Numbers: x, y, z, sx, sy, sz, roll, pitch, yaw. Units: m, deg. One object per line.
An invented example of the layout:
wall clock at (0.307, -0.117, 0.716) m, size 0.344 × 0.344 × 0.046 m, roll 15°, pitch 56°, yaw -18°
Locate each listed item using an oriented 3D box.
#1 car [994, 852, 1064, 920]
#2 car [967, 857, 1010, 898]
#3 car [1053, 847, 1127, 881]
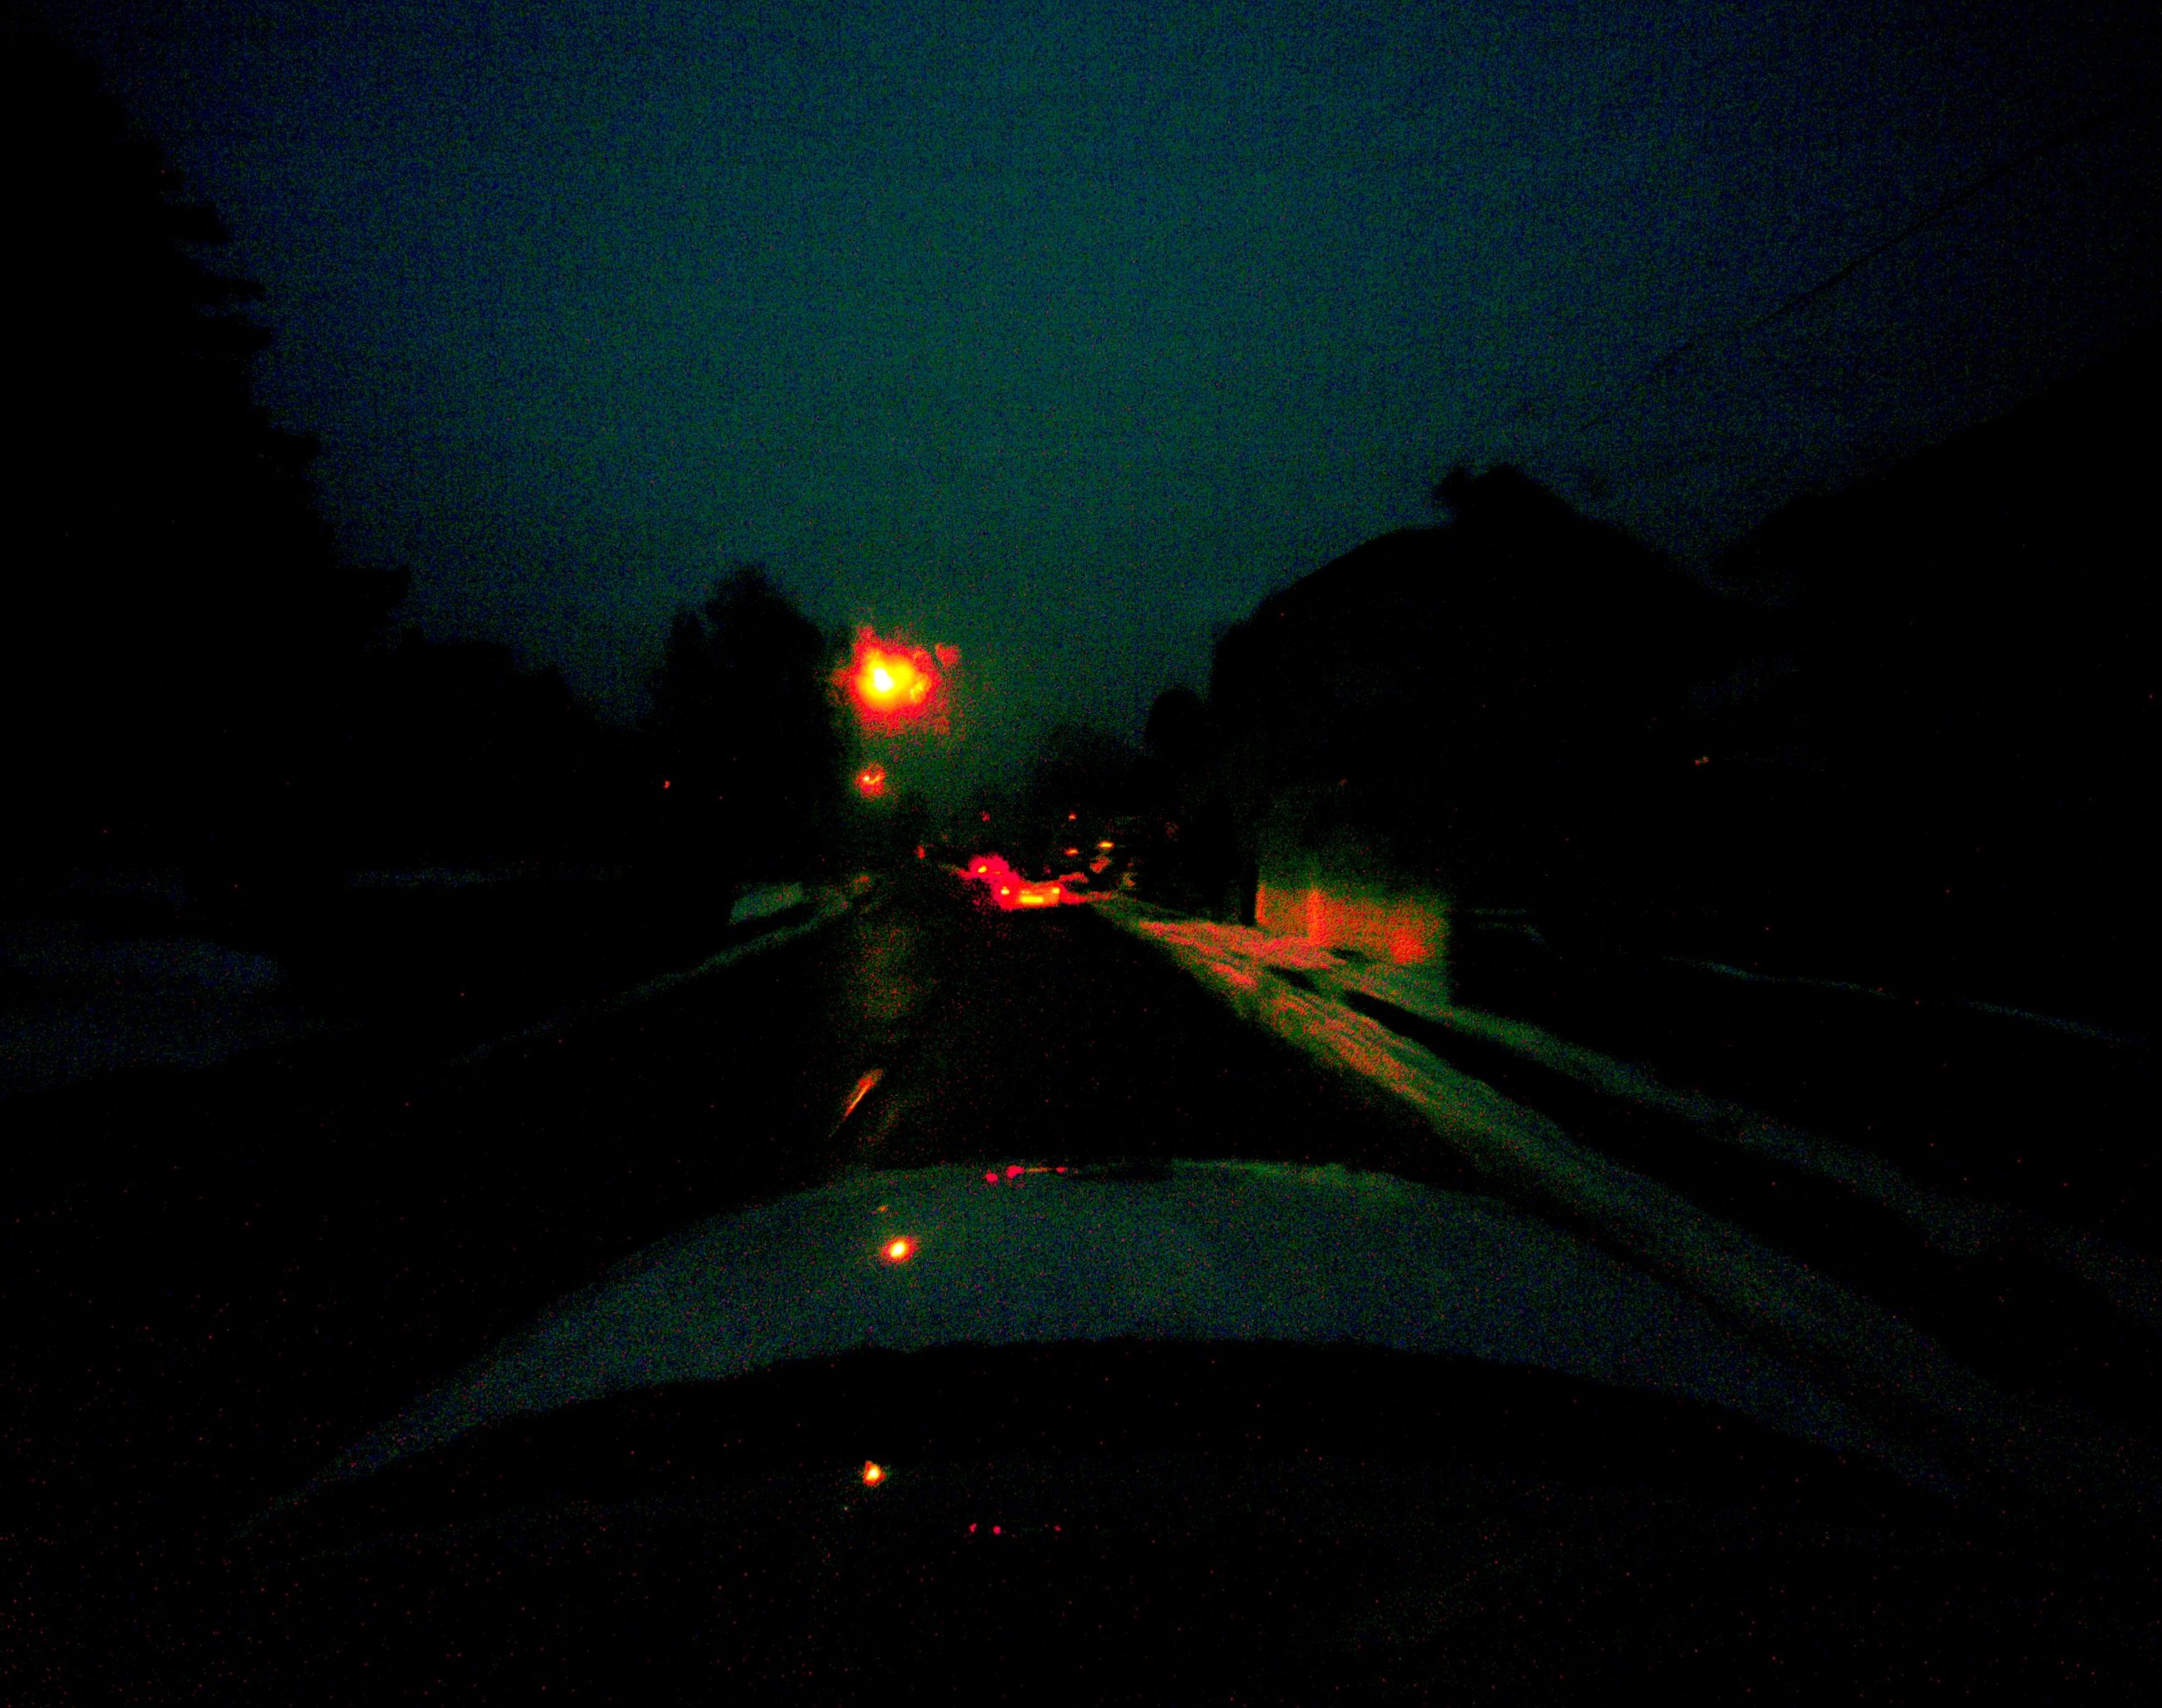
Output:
car at (-1.390, 0.845, 21.674) m, size 1.642 × 1.596 × 3.693 m, roll 2°, pitch -2°, yaw -4°
car at (-3.946, 1.023, 35.159) m, size 1.642 × 1.596 × 3.693 m, roll 2°, pitch -2°, yaw -4°
car at (0.475, 0.590, 45.167) m, size 3.976 × 1.816 × 1.998 m, roll 0°, pitch -2°, yaw -2°
